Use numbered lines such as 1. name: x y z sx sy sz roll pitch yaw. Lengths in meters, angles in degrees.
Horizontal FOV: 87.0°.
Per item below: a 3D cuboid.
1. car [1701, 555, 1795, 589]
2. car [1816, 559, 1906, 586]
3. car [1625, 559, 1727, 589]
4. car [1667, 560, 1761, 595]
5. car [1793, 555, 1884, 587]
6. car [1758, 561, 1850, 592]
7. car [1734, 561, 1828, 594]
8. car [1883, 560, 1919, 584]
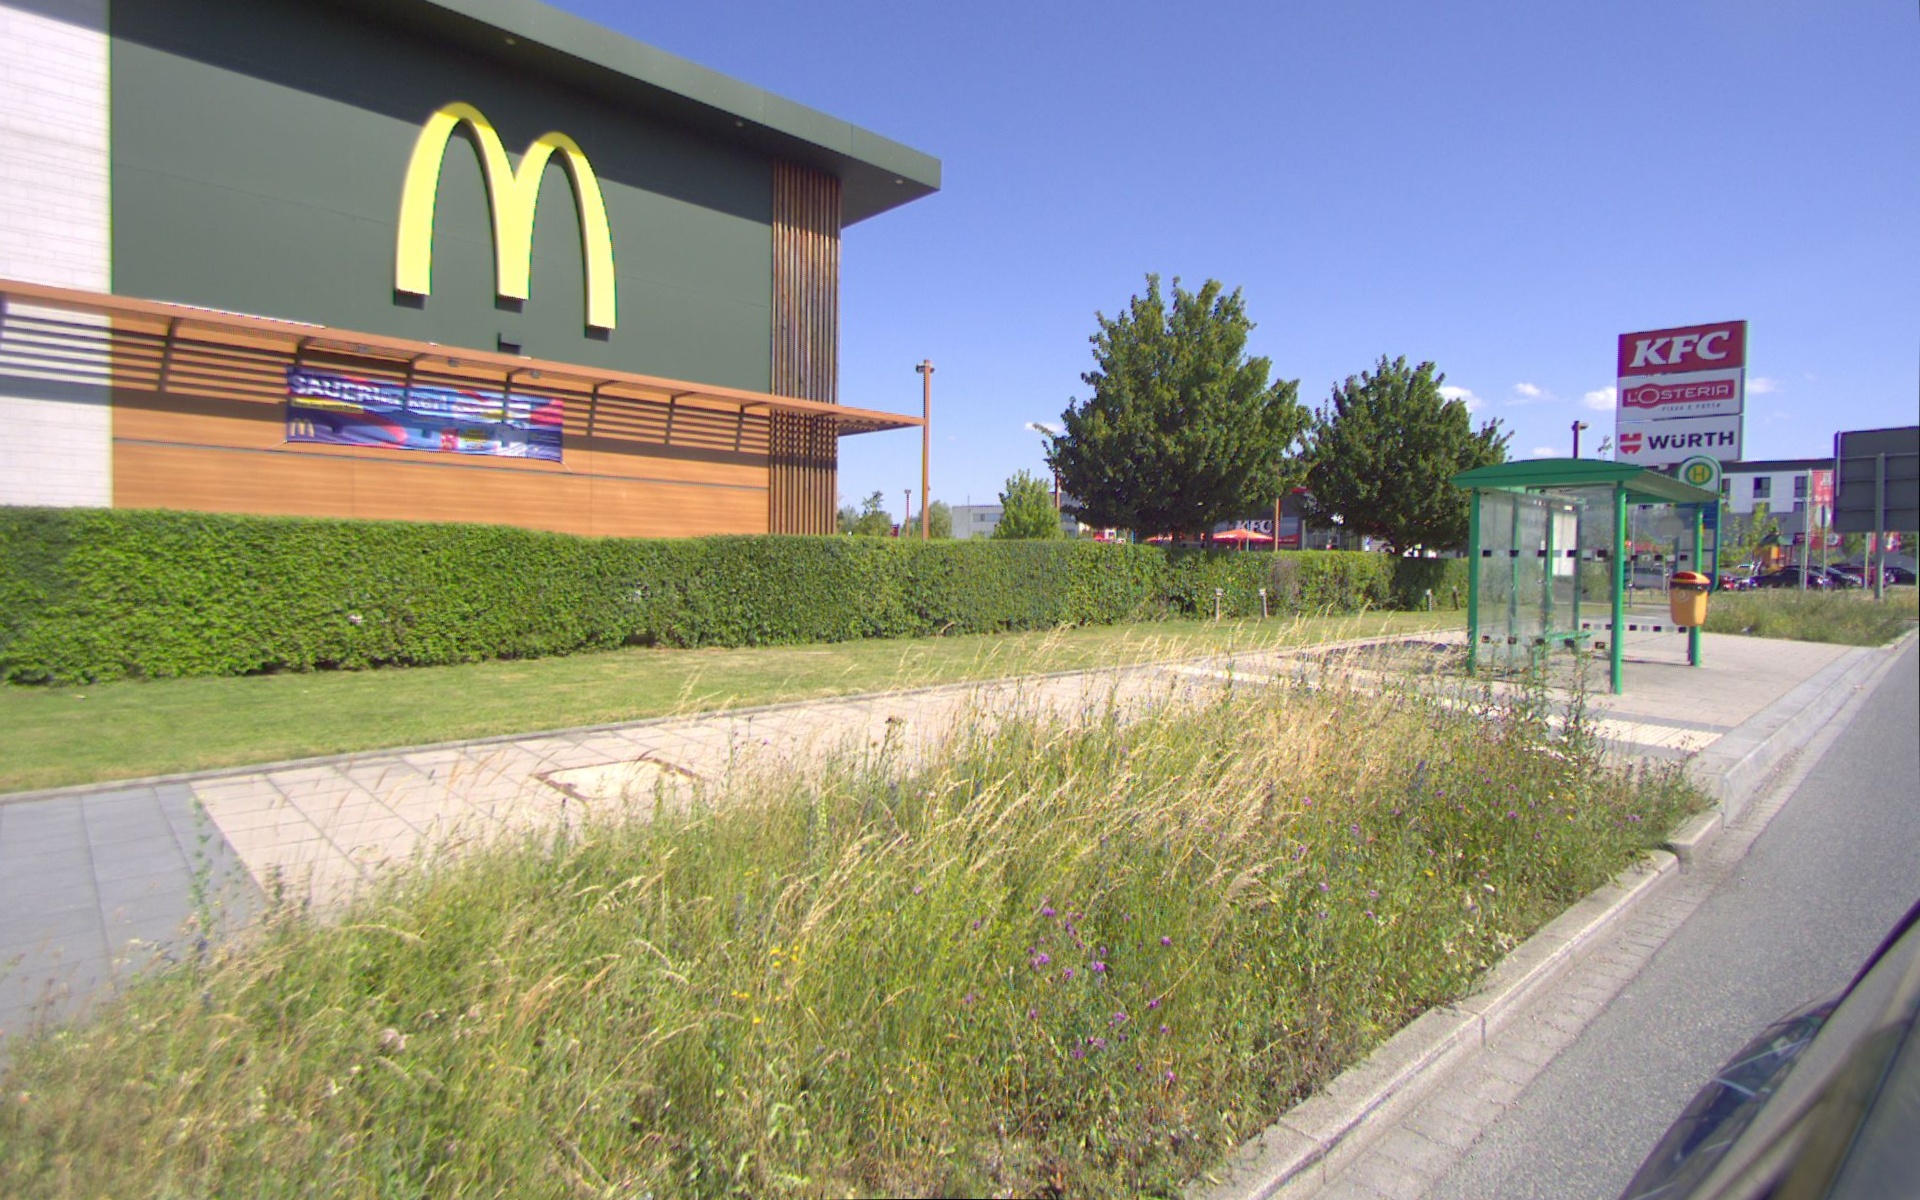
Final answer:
1. car: 48.751 -1.775 62.686 1.894 2.038 4.193 0 2 -29
2. car: 61.419 -1.921 69.045 1.786 1.783 4.195 0 2 -26
3. car: 41.828 -1.534 59.207 1.897 1.673 4.443 -1 2 -36
4. car: 45.810 -1.395 61.573 1.894 2.038 4.194 0 2 -28
5. car: 58.708 -1.964 67.730 1.895 2.038 4.192 0 2 -31
6. car: 54.435 -1.540 65.338 1.766 1.880 4.196 0 2 -25
7. car: 51.993 -1.463 64.193 1.894 2.038 4.193 0 2 -29
8. car: 67.778 -1.969 71.204 1.722 1.639 3.830 0 2 -29
